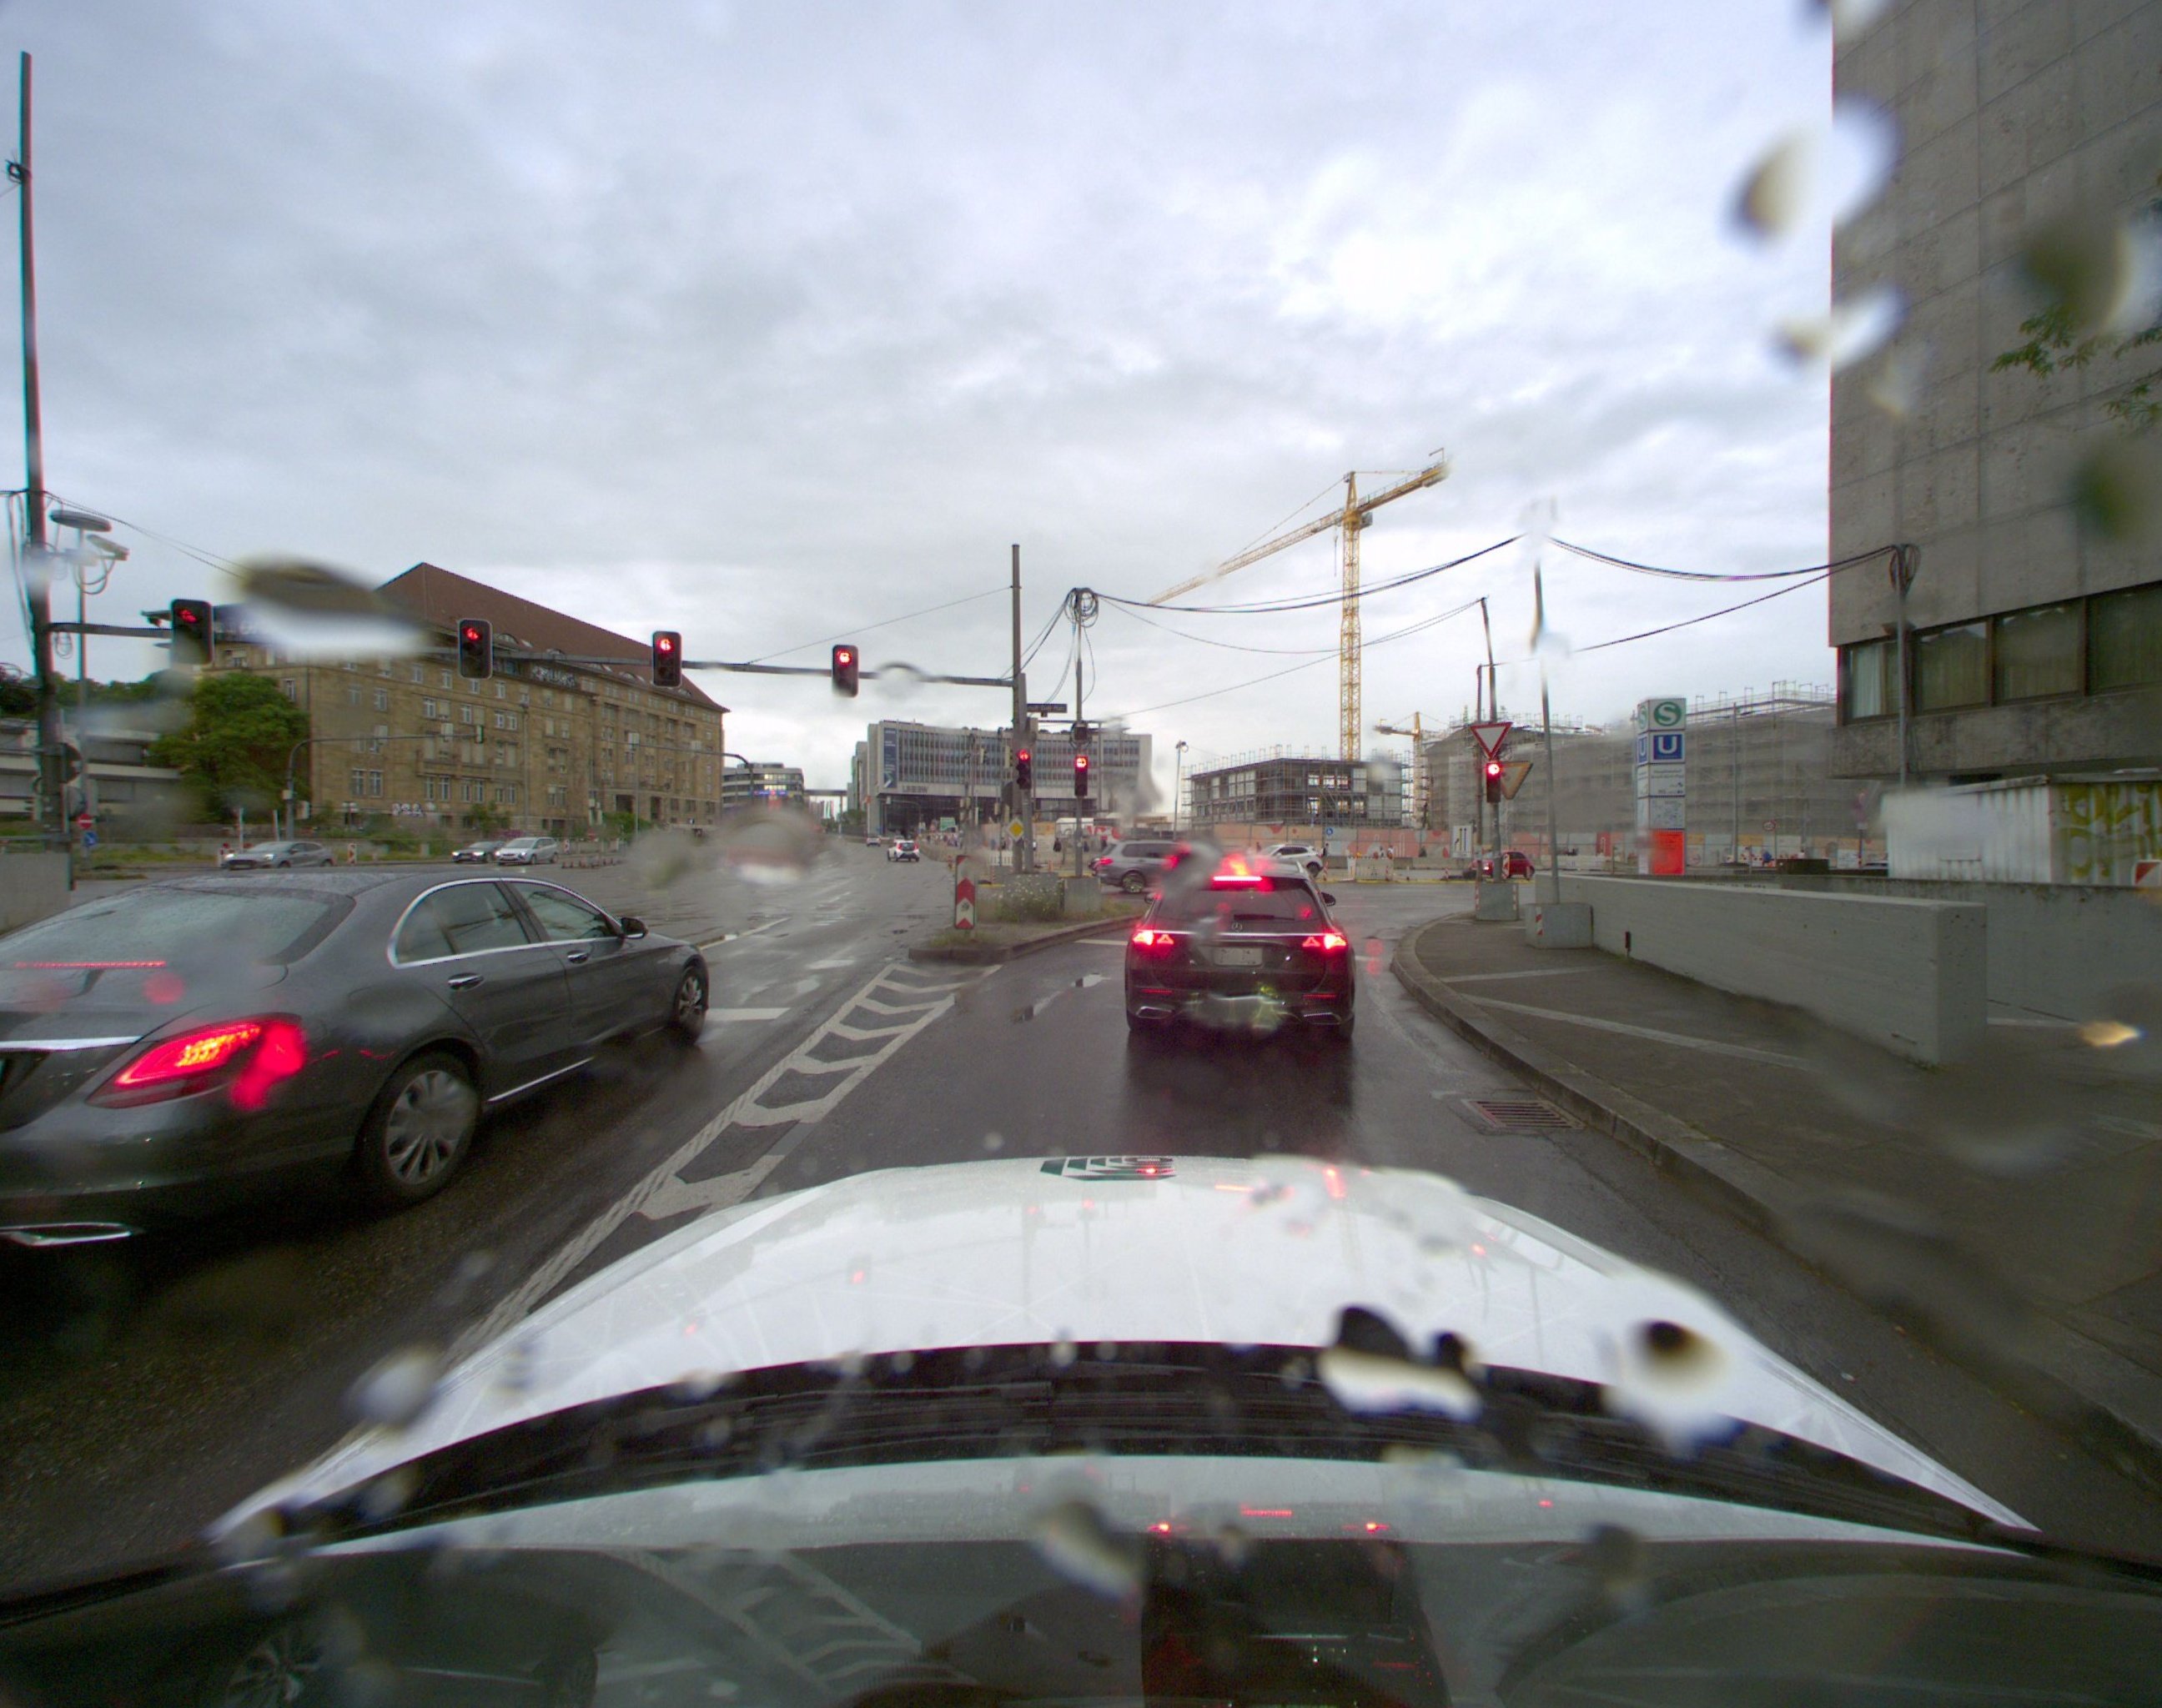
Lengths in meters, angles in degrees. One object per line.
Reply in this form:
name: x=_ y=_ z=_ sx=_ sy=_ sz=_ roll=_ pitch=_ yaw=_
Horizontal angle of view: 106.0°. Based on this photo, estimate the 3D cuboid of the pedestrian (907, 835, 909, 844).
pedestrian: x=-39.157 y=-3.260 z=184.627 sx=0.361 sy=1.898 sz=0.574 roll=1 pitch=-1 yaw=-13

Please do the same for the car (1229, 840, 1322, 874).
car: x=9.662 y=0.174 z=40.503 sx=4.050 sy=1.552 sz=1.988 roll=1 pitch=-1 yaw=-18

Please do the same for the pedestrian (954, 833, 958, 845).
pedestrian: x=-19.468 y=-2.385 z=127.290 sx=0.520 sy=1.898 sz=0.573 roll=1 pitch=-1 yaw=-16

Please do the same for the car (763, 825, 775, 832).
car: x=-84.531 y=-6.899 z=220.552 sx=2.010 sy=1.816 sz=3.954 roll=2 pitch=-1 yaw=-39

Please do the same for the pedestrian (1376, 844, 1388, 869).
pedestrian: x=23.420 y=0.193 z=63.444 sx=0.656 sy=1.901 sz=0.629 roll=1 pitch=-1 yaw=-12

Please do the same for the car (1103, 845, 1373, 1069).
car: x=1.358 y=0.749 z=7.791 sx=1.881 sy=1.544 sz=4.001 roll=1 pitch=-1 yaw=7

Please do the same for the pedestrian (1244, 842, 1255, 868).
pedestrian: x=12.622 y=0.067 z=60.981 sx=0.656 sy=1.901 sz=0.629 roll=1 pitch=-1 yaw=-12

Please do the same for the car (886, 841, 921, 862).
car: x=-13.006 y=-0.173 z=59.670 sx=1.789 sy=1.473 sz=3.530 roll=1 pitch=-1 yaw=-25

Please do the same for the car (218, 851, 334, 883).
car: x=-34.373 y=0.551 z=34.918 sx=1.625 sy=1.260 sz=3.982 roll=1 pitch=-1 yaw=-13

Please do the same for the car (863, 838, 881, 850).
car: x=-30.485 y=-1.460 z=118.542 sx=2.002 sy=1.640 sz=3.970 roll=1 pitch=-1 yaw=-23

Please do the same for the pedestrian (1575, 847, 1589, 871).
pedestrian: x=39.695 y=0.421 z=64.499 sx=0.798 sy=1.898 sz=0.563 roll=1 pitch=-1 yaw=-13

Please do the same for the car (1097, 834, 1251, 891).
car: x=3.098 y=0.300 z=27.916 sx=5.070 sy=1.798 sz=1.999 roll=1 pitch=-1 yaw=-1

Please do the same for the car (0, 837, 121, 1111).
car: x=-6.729 y=0.621 z=2.487 sx=1.884 sy=1.515 sz=4.993 roll=1 pitch=-1 yaw=-5

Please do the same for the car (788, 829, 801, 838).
car: x=-67.032 y=-4.839 z=190.448 sx=2.008 sy=2.014 sz=3.957 roll=1 pitch=-1 yaw=-34

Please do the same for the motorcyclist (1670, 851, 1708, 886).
motorcyclist: x=24.462 y=0.587 z=32.790 sx=0.940 sy=1.358 sz=0.850 roll=1 pitch=-1 yaw=5

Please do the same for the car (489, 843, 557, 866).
car: x=-33.305 y=0.044 z=48.722 sx=1.768 sy=1.260 sz=4.178 roll=1 pitch=-1 yaw=-11

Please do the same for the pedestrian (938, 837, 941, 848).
pedestrian: x=-24.395 y=-2.049 z=140.377 sx=0.362 sy=1.898 sz=0.573 roll=1 pitch=-1 yaw=-16

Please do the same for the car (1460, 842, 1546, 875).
car: x=23.335 y=0.259 z=45.073 sx=3.995 sy=1.708 sz=1.989 roll=1 pitch=-1 yaw=-16

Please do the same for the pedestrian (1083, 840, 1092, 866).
pedestrian: x=0.449 y=-0.086 z=60.443 sx=0.570 sy=1.898 sz=0.364 roll=0 pitch=-1 yaw=15

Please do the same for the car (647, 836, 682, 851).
car: x=-37.970 y=-0.928 z=74.374 sx=1.768 sy=1.260 sz=3.985 roll=1 pitch=-1 yaw=-11

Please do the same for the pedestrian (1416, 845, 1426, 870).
pedestrian: x=25.712 y=0.273 z=61.600 sx=0.574 sy=1.898 sz=0.361 roll=1 pitch=-1 yaw=-10

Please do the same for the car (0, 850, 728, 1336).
car: x=-3.777 y=0.724 z=4.686 sx=1.780 sy=1.402 sz=4.480 roll=1 pitch=1 yaw=-4

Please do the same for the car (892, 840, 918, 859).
car: x=-17.004 y=-0.407 z=78.379 sx=1.999 sy=1.766 sz=4.392 roll=1 pitch=-1 yaw=-18

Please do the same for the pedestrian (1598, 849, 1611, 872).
pedestrian: x=43.628 y=0.526 z=67.869 sx=0.631 sy=1.898 sz=0.587 roll=1 pitch=-1 yaw=-13

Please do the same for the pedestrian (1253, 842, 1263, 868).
pedestrian: x=13.100 y=0.087 z=60.218 sx=0.574 sy=1.898 sz=0.361 roll=1 pitch=-1 yaw=-10

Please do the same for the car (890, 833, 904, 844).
car: x=-29.110 y=-2.502 z=128.874 sx=1.733 sy=1.639 sz=3.412 roll=1 pitch=2 yaw=-20

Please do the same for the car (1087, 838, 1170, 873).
car: x=2.481 y=0.090 z=42.955 sx=3.993 sy=1.734 sz=1.990 roll=1 pitch=-1 yaw=-15

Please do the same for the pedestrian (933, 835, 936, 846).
pedestrian: x=-25.750 y=-2.424 z=143.178 sx=0.520 sy=1.898 sz=0.573 roll=1 pitch=-1 yaw=-16

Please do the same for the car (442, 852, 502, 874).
car: x=-37.507 y=0.572 z=50.231 sx=1.739 sy=1.260 sz=3.315 roll=1 pitch=-1 yaw=-13

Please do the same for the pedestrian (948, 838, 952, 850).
pedestrian: x=-19.963 y=-1.545 z=123.976 sx=0.520 sy=1.898 sz=0.573 roll=1 pitch=-1 yaw=-16

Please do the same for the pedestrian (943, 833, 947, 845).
pedestrian: x=-22.269 y=-2.465 z=133.328 sx=0.520 sy=1.898 sz=0.573 roll=1 pitch=-1 yaw=-16
